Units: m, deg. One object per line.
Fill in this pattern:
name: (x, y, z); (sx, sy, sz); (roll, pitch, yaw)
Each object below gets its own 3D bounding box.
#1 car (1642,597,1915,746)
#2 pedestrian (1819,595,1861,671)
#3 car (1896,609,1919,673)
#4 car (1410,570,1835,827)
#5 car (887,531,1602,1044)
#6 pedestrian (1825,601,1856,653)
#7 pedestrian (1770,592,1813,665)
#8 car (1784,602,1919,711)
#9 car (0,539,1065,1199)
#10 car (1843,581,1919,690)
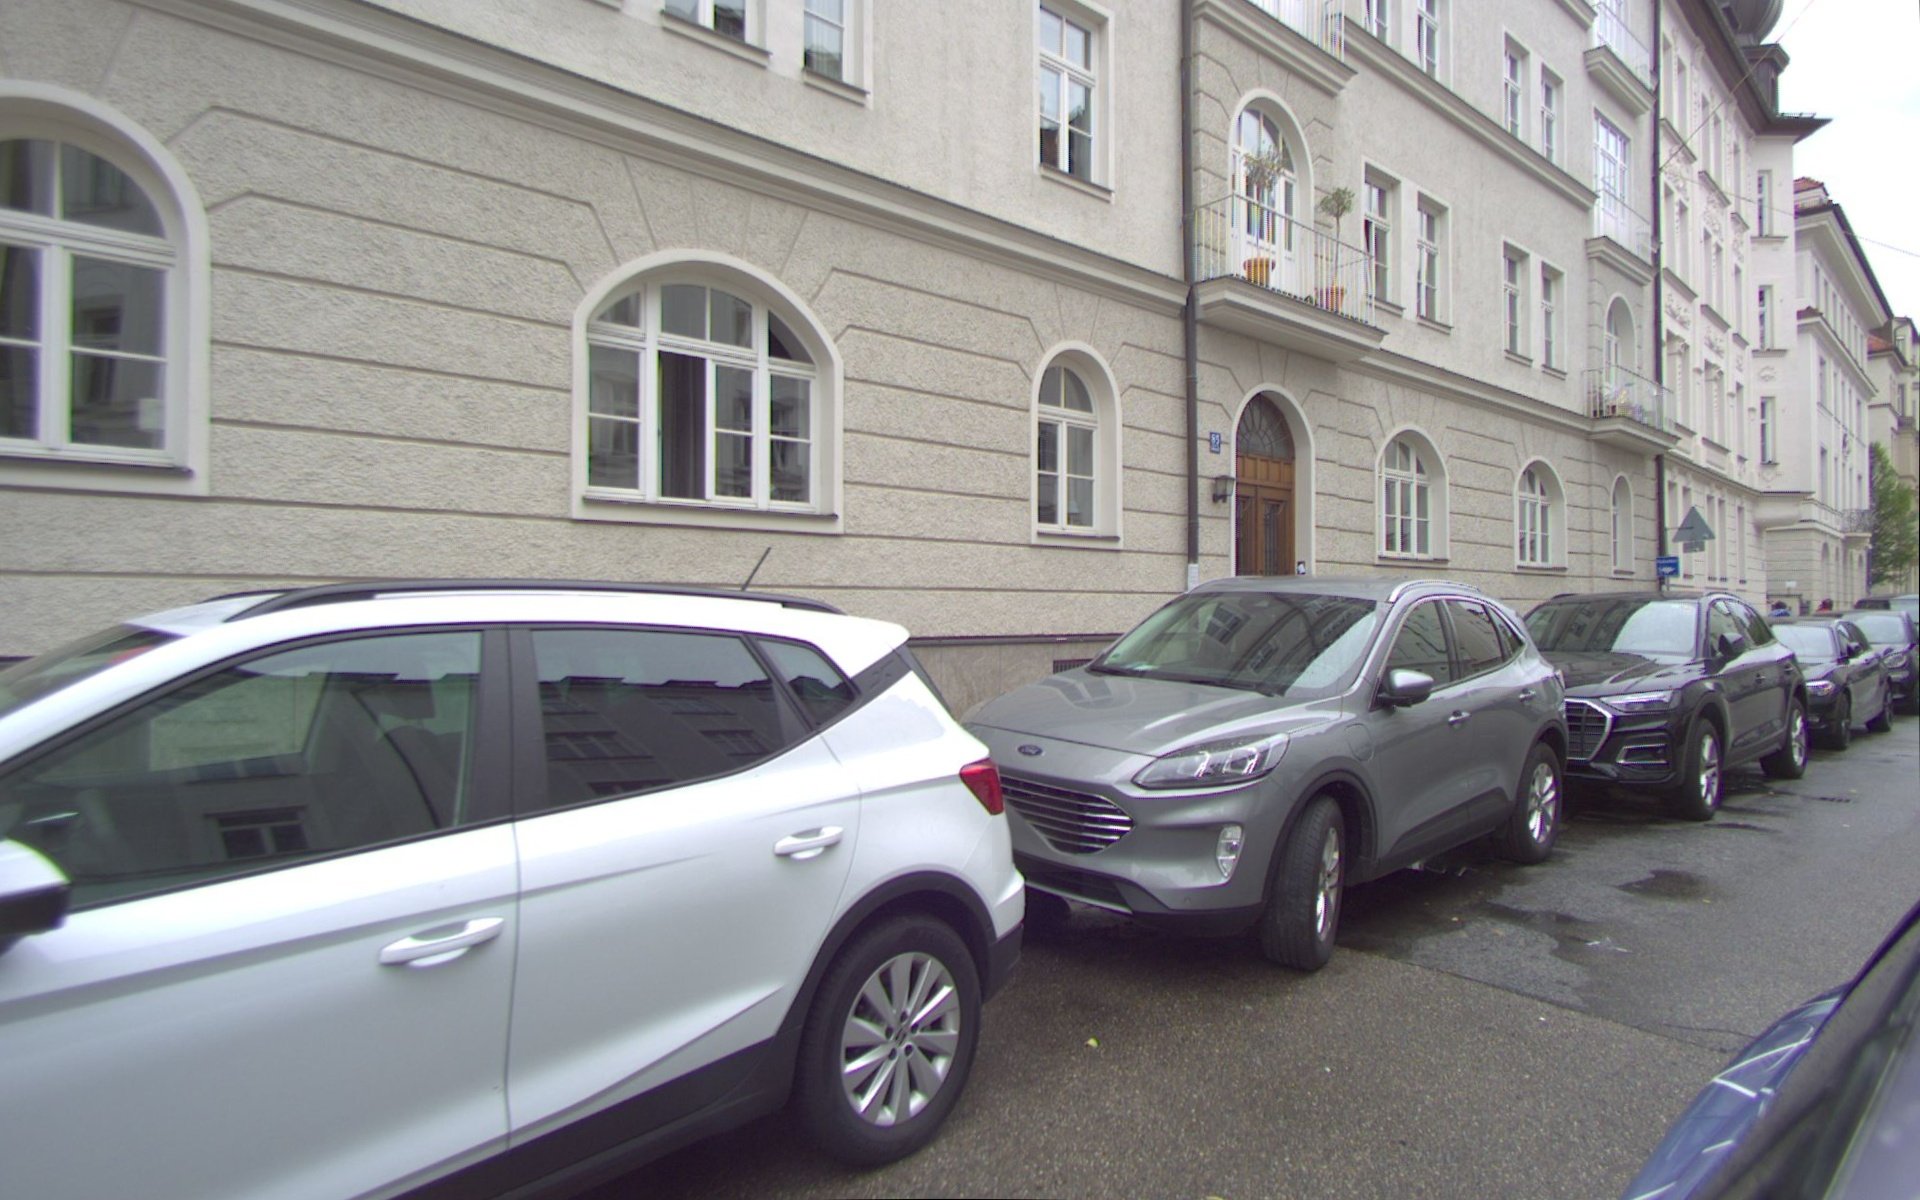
car: (9.881, 0.732, 12.117); (4.124, 1.490, 1.710); (1, -1, -39)
pedestrian: (20.947, 0.775, 24.089); (0.692, 1.750, 0.703); (1, 0, -44)
car: (22.976, 0.898, 23.267); (3.518, 1.413, 1.666); (0, -2, -40)
car: (5.757, 0.666, 8.591); (4.296, 1.657, 1.781); (0, -2, -39)
car: (1.855, 0.639, 5.576); (4.351, 1.735, 1.792); (0, 0, -43)
pedestrian: (29.864, 0.918, 34.335); (0.798, 1.700, 0.683); (2, 1, -43)
pedestrian: (19.952, 0.661, 24.281); (0.643, 1.695, 0.680); (1, 1, -44)
car: (14.473, 0.829, 16.017); (3.574, 1.545, 1.657); (1, -2, -42)
car: (-1.643, 0.678, 2.395); (1.751, 1.515, 3.846); (-1, -1, 45)
car: (18.491, 0.630, 19.290); (4.633, 1.910, 1.913); (0, -3, -42)
